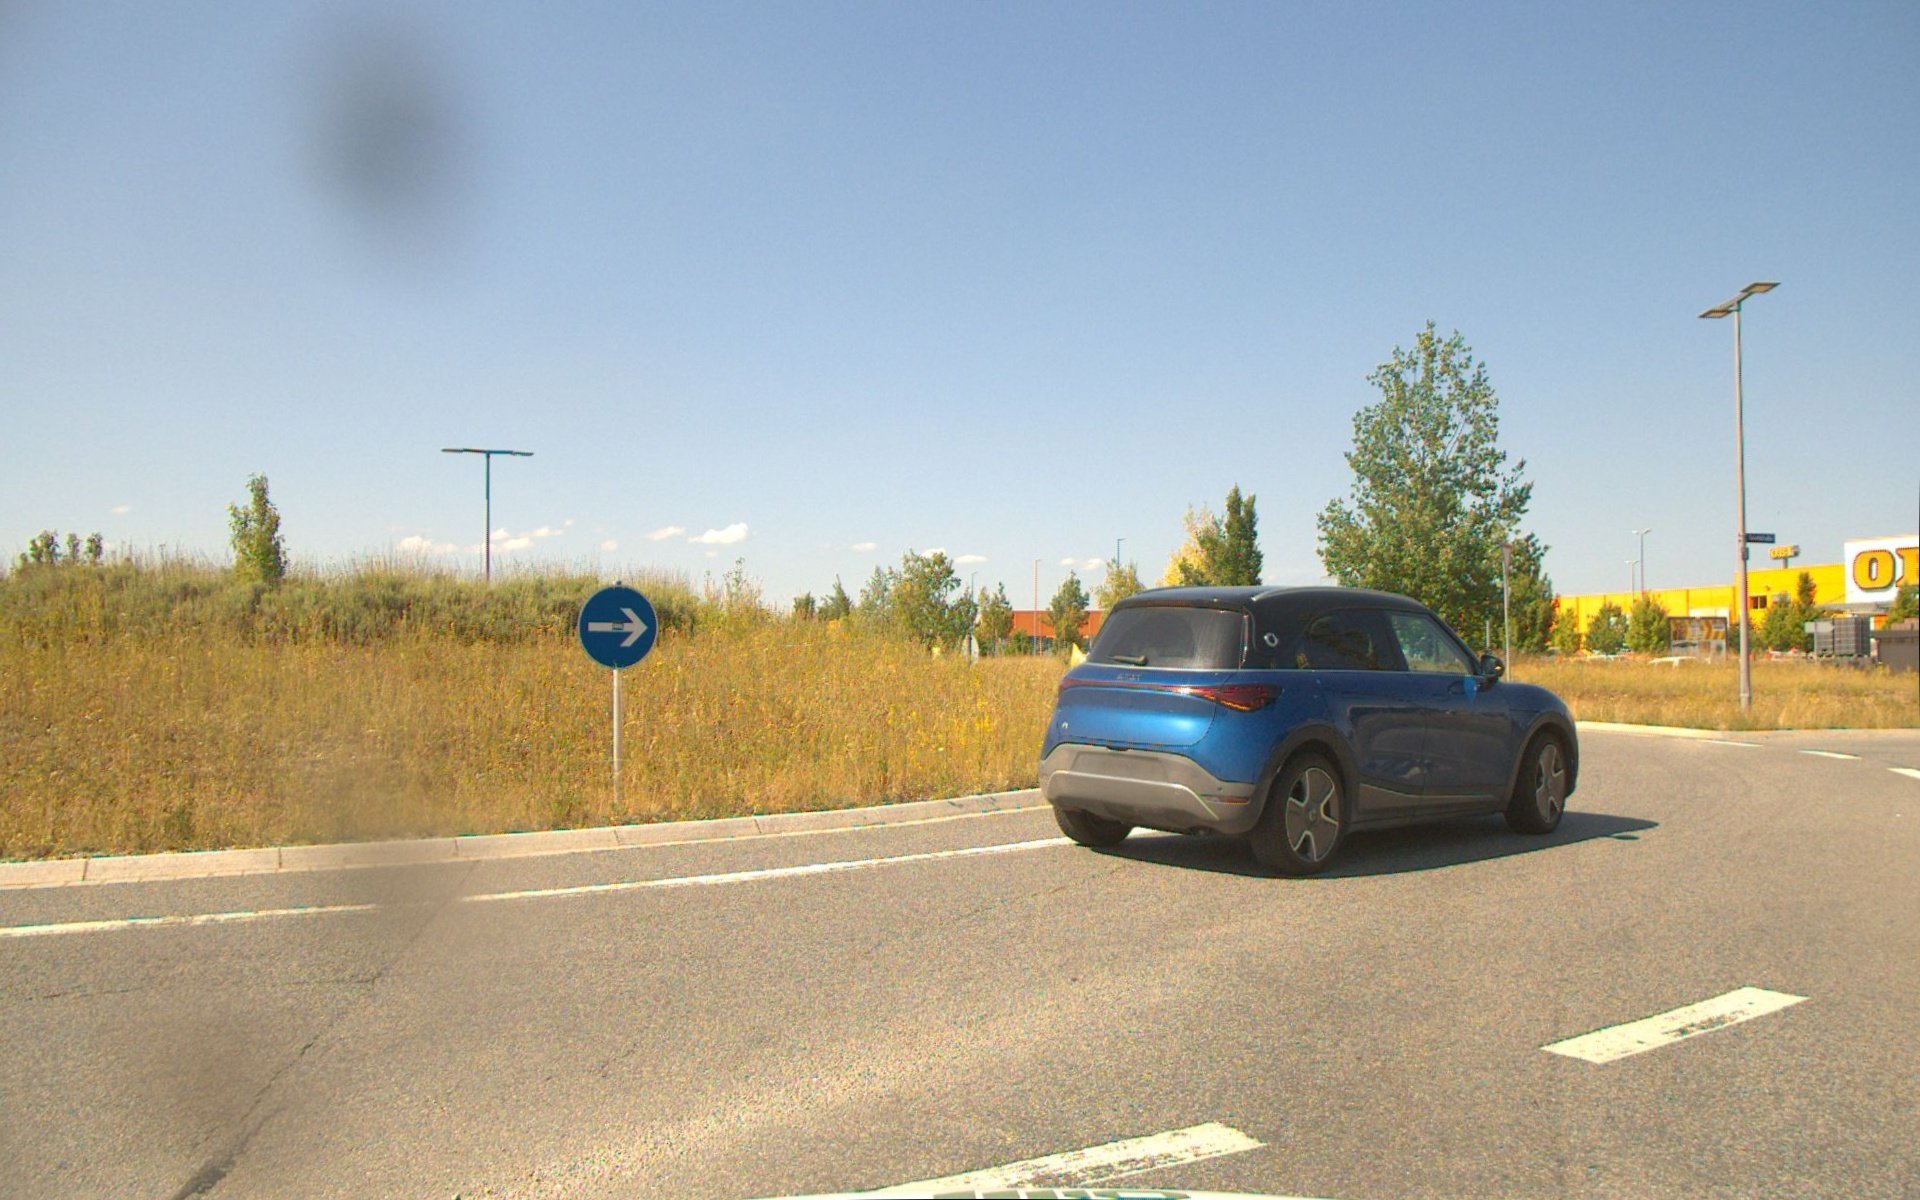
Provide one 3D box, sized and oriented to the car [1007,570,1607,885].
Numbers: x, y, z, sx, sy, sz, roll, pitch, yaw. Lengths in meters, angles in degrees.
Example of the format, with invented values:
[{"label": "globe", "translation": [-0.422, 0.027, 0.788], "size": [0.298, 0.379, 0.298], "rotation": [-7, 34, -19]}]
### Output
[{"label": "car", "translation": [2.385, 0.678, 10.798], "size": [4.045, 1.664, 1.828], "rotation": [0, -1, -42]}]
